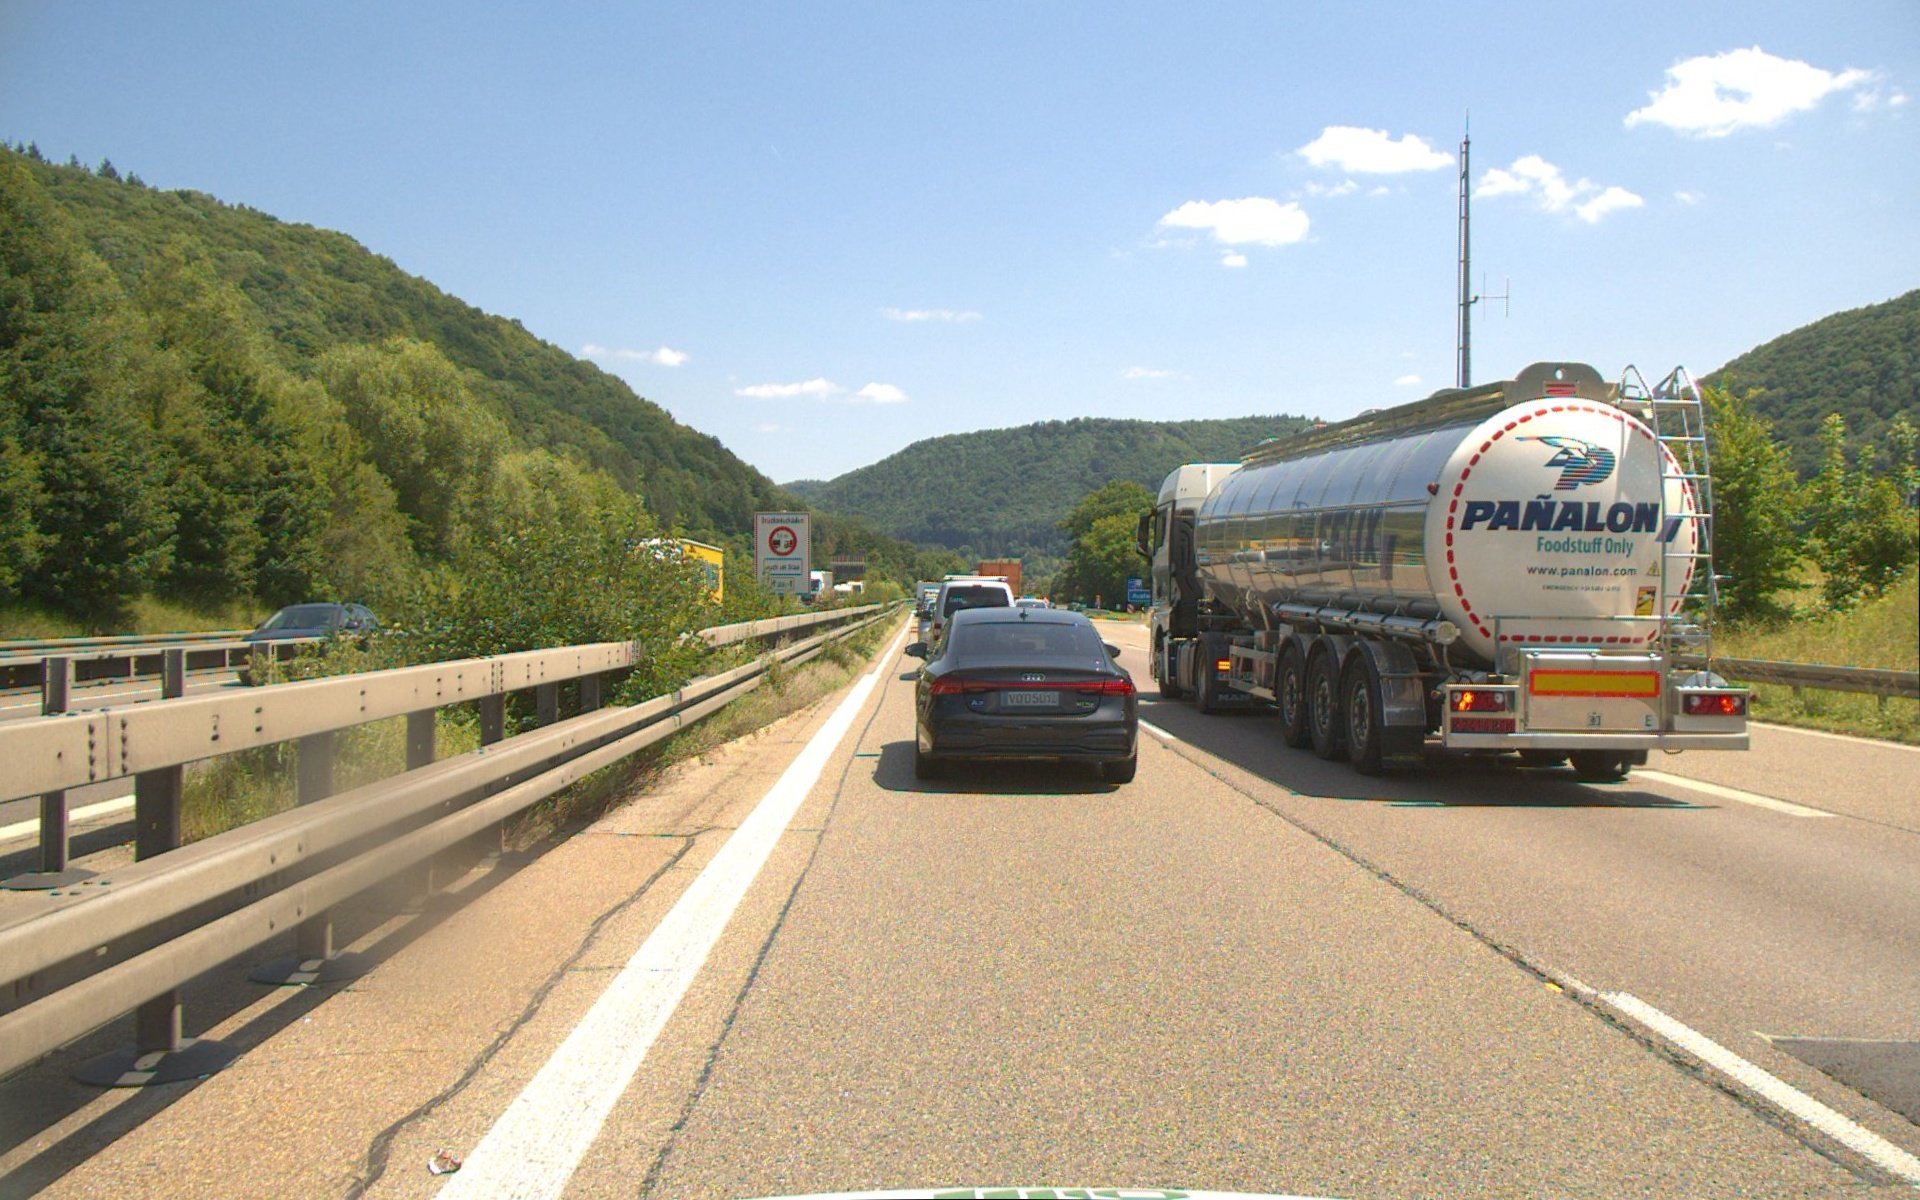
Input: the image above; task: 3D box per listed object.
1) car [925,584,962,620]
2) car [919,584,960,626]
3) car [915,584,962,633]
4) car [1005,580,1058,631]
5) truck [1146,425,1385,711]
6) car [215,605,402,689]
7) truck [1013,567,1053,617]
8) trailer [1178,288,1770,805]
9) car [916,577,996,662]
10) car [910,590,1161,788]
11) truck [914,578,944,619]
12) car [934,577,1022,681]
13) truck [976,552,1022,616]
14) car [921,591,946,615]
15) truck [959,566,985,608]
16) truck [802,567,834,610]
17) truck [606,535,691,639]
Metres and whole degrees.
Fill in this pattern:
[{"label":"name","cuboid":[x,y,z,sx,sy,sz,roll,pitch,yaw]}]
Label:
[{"label":"car","cuboid":[-0.772,0.080,77.901,1.677,1.647,4.000,0,0,0]},{"label":"car","cuboid":[-1.033,0.233,81.542,1.953,2.049,3.999,0,0,-2]},{"label":"car","cuboid":[-0.955,0.342,71.629,1.953,2.049,3.999,0,0,-2]},{"label":"car","cuboid":[2.939,0.214,68.978,1.953,2.049,3.999,0,0,-1]},{"label":"truck","cuboid":[4.398,-0.431,24.835,2.461,3.824,5.244,1,0,-2]},{"label":"car","cuboid":[-12.326,0.842,31.633,1.831,1.445,4.432,-1,0,-1]},{"label":"truck","cuboid":[6.339,-0.687,145.175,2.760,4.073,14.953,1,0,0]},{"label":"trailer","cuboid":[4.608,-0.400,18.218,2.487,3.801,11.887,1,0,-2]},{"label":"car","cuboid":[-0.136,0.469,42.405,1.953,2.049,3.999,1,0,-1]},{"label":"car","cuboid":[0.526,0.690,14.798,1.813,1.514,4.080,1,0,-4]},{"label":"truck","cuboid":[-2.718,-0.108,147.948,2.575,3.501,11.418,0,0,-1]},{"label":"car","cuboid":[0.291,0.521,31.805,1.544,1.865,3.999,1,0,-1]},{"label":"truck","cuboid":[2.587,-1.049,114.734,2.760,4.073,14.953,1,0,0]},{"label":"car","cuboid":[-1.871,0.200,115.796,1.677,1.647,4.000,0,0,0]},{"label":"truck","cuboid":[0.983,-1.096,144.487,1.953,3.507,11.808,1,0,-1]},{"label":"truck","cuboid":[-13.798,-1.142,161.155,2.672,4.071,5.368,-1,0,-1]},{"label":"truck","cuboid":[-12.928,-0.526,69.043,2.495,4.162,5.849,0,0,-1]}]
